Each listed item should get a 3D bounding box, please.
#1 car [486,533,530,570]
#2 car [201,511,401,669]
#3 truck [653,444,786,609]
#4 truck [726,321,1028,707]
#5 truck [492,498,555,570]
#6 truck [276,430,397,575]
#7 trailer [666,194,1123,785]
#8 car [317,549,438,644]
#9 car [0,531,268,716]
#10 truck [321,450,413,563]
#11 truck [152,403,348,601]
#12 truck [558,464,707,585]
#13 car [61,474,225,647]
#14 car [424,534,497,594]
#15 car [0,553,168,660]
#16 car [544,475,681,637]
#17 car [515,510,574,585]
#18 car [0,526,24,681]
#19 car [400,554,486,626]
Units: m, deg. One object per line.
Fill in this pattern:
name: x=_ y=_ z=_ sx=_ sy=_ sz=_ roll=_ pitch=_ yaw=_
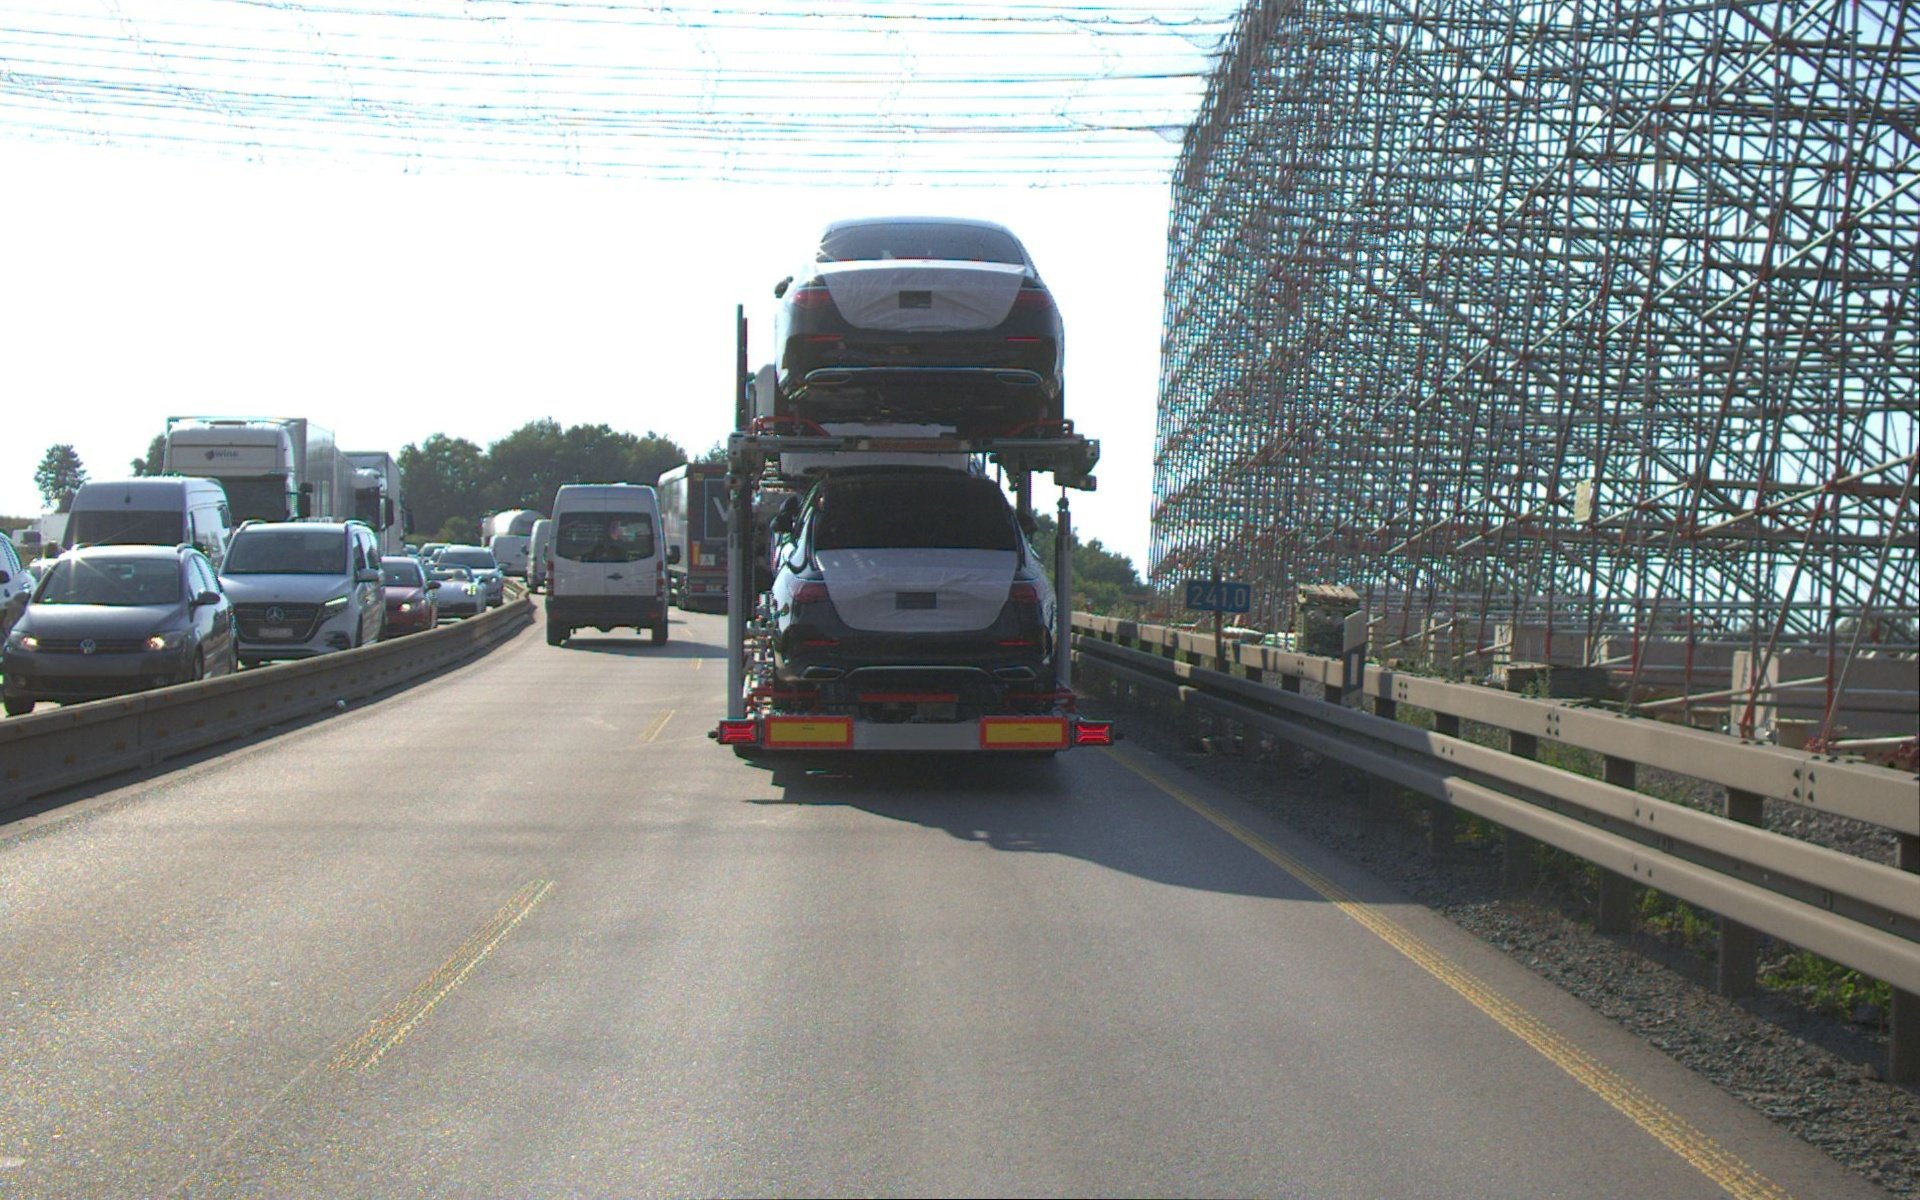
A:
car: x=-20.018 y=-2.153 z=152.367 sx=1.710 sy=1.612 sz=3.504 roll=0 pitch=0 yaw=-4
car: x=-8.369 y=-0.154 z=43.937 sx=1.836 sy=1.887 sz=4.000 roll=1 pitch=1 yaw=-1
truck: x=-6.939 y=-2.071 z=97.596 sx=2.731 sy=4.370 sz=11.524 roll=1 pitch=1 yaw=-9
truck: x=-0.898 y=-0.836 z=36.562 sx=2.881 sy=3.690 sz=7.326 roll=0 pitch=0 yaw=-2
truck: x=-23.510 y=-3.535 z=184.886 sx=2.615 sy=3.711 sz=9.662 roll=1 pitch=1 yaw=-11
truck: x=-16.138 y=-2.463 z=89.593 sx=2.594 sy=3.462 sz=12.395 roll=1 pitch=1 yaw=-8
trailer: x=-0.639 y=-0.731 z=29.125 sx=2.868 sy=3.712 sz=14.948 roll=0 pitch=0 yaw=-2
car: x=-9.469 y=-0.086 z=56.089 sx=1.836 sy=1.448 sz=4.001 roll=1 pitch=1 yaw=-9
car: x=-7.825 y=0.181 z=32.802 sx=1.695 sy=1.623 sz=4.000 roll=1 pitch=1 yaw=-1
truck: x=-19.476 y=-3.023 z=113.382 sx=2.594 sy=3.462 sz=12.395 roll=1 pitch=1 yaw=-8
truck: x=-13.775 y=-1.849 z=67.540 sx=2.594 sy=3.462 sz=12.395 roll=1 pitch=1 yaw=-7
truck: x=-12.709 y=-2.798 z=131.959 sx=3.686 sy=4.206 sz=13.672 roll=-3 pitch=1 yaw=-13
car: x=-12.573 y=-0.615 z=53.122 sx=1.993 sy=2.532 sz=4.001 roll=1 pitch=1 yaw=-7
car: x=-12.775 y=-0.931 z=87.849 sx=1.701 sy=1.448 sz=4.001 roll=1 pitch=1 yaw=-10
car: x=-11.342 y=0.069 z=44.361 sx=1.582 sy=1.327 sz=4.001 roll=0 pitch=0 yaw=-4
car: x=-5.773 y=-0.706 z=57.567 sx=1.956 sy=2.612 sz=4.000 roll=-1 pitch=0 yaw=-1
car: x=-14.612 y=-1.854 z=120.885 sx=1.993 sy=2.570 sz=4.001 roll=1 pitch=1 yaw=-7
car: x=-11.161 y=0.030 z=36.694 sx=1.679 sy=1.678 sz=4.001 roll=1 pitch=1 yaw=-7
car: x=-11.114 y=-0.242 z=73.769 sx=1.701 sy=1.448 sz=4.001 roll=1 pitch=1 yaw=-10
